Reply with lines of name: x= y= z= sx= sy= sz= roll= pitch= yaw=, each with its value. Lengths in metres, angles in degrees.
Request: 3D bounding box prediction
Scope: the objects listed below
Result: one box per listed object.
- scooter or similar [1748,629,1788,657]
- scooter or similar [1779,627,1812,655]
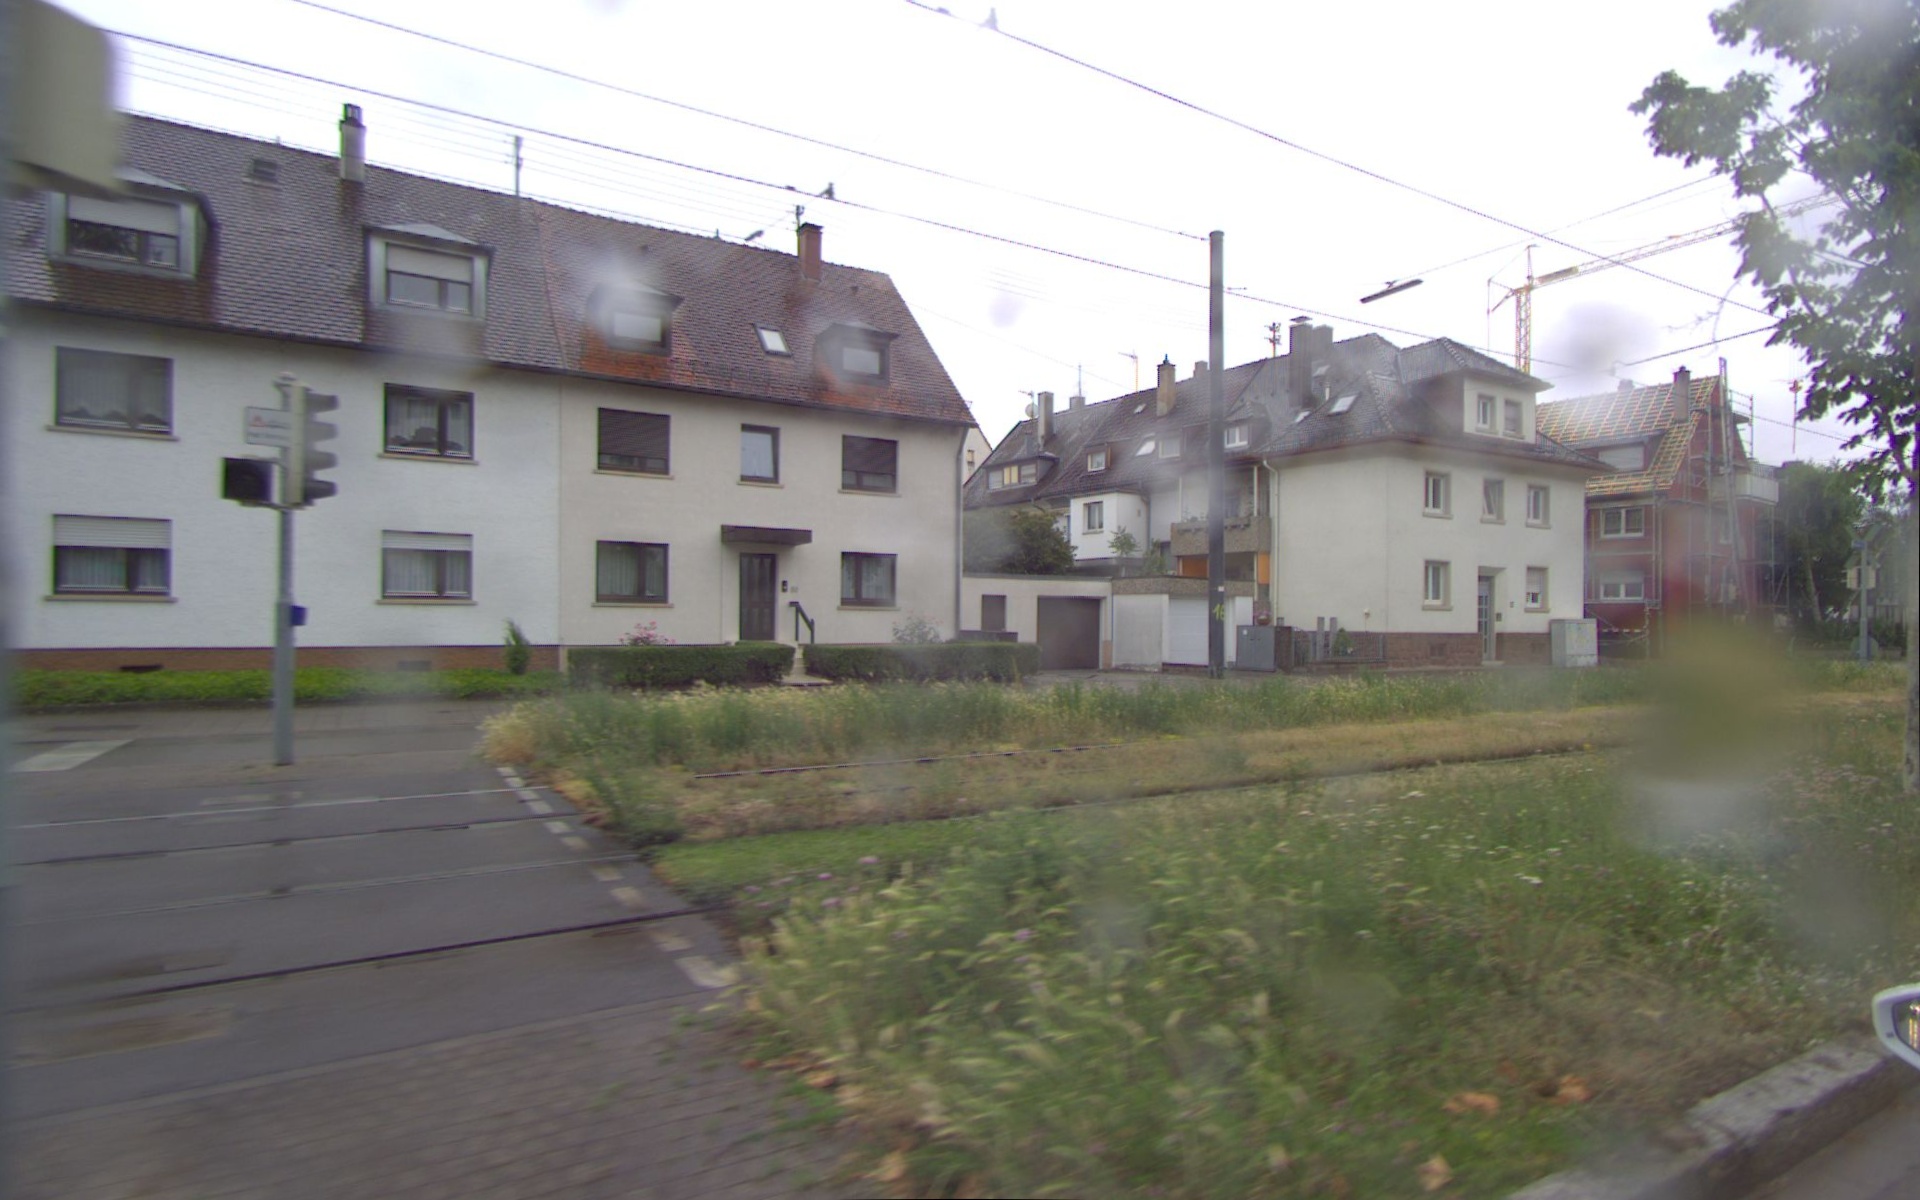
scooter or similar: x=32.880 y=1.746 z=40.899 sx=1.257 sy=1.144 sz=0.441 roll=0 pitch=-1 yaw=1
scooter or similar: x=35.437 y=1.744 z=42.610 sx=1.261 sy=1.196 sz=0.394 roll=1 pitch=-1 yaw=-14
